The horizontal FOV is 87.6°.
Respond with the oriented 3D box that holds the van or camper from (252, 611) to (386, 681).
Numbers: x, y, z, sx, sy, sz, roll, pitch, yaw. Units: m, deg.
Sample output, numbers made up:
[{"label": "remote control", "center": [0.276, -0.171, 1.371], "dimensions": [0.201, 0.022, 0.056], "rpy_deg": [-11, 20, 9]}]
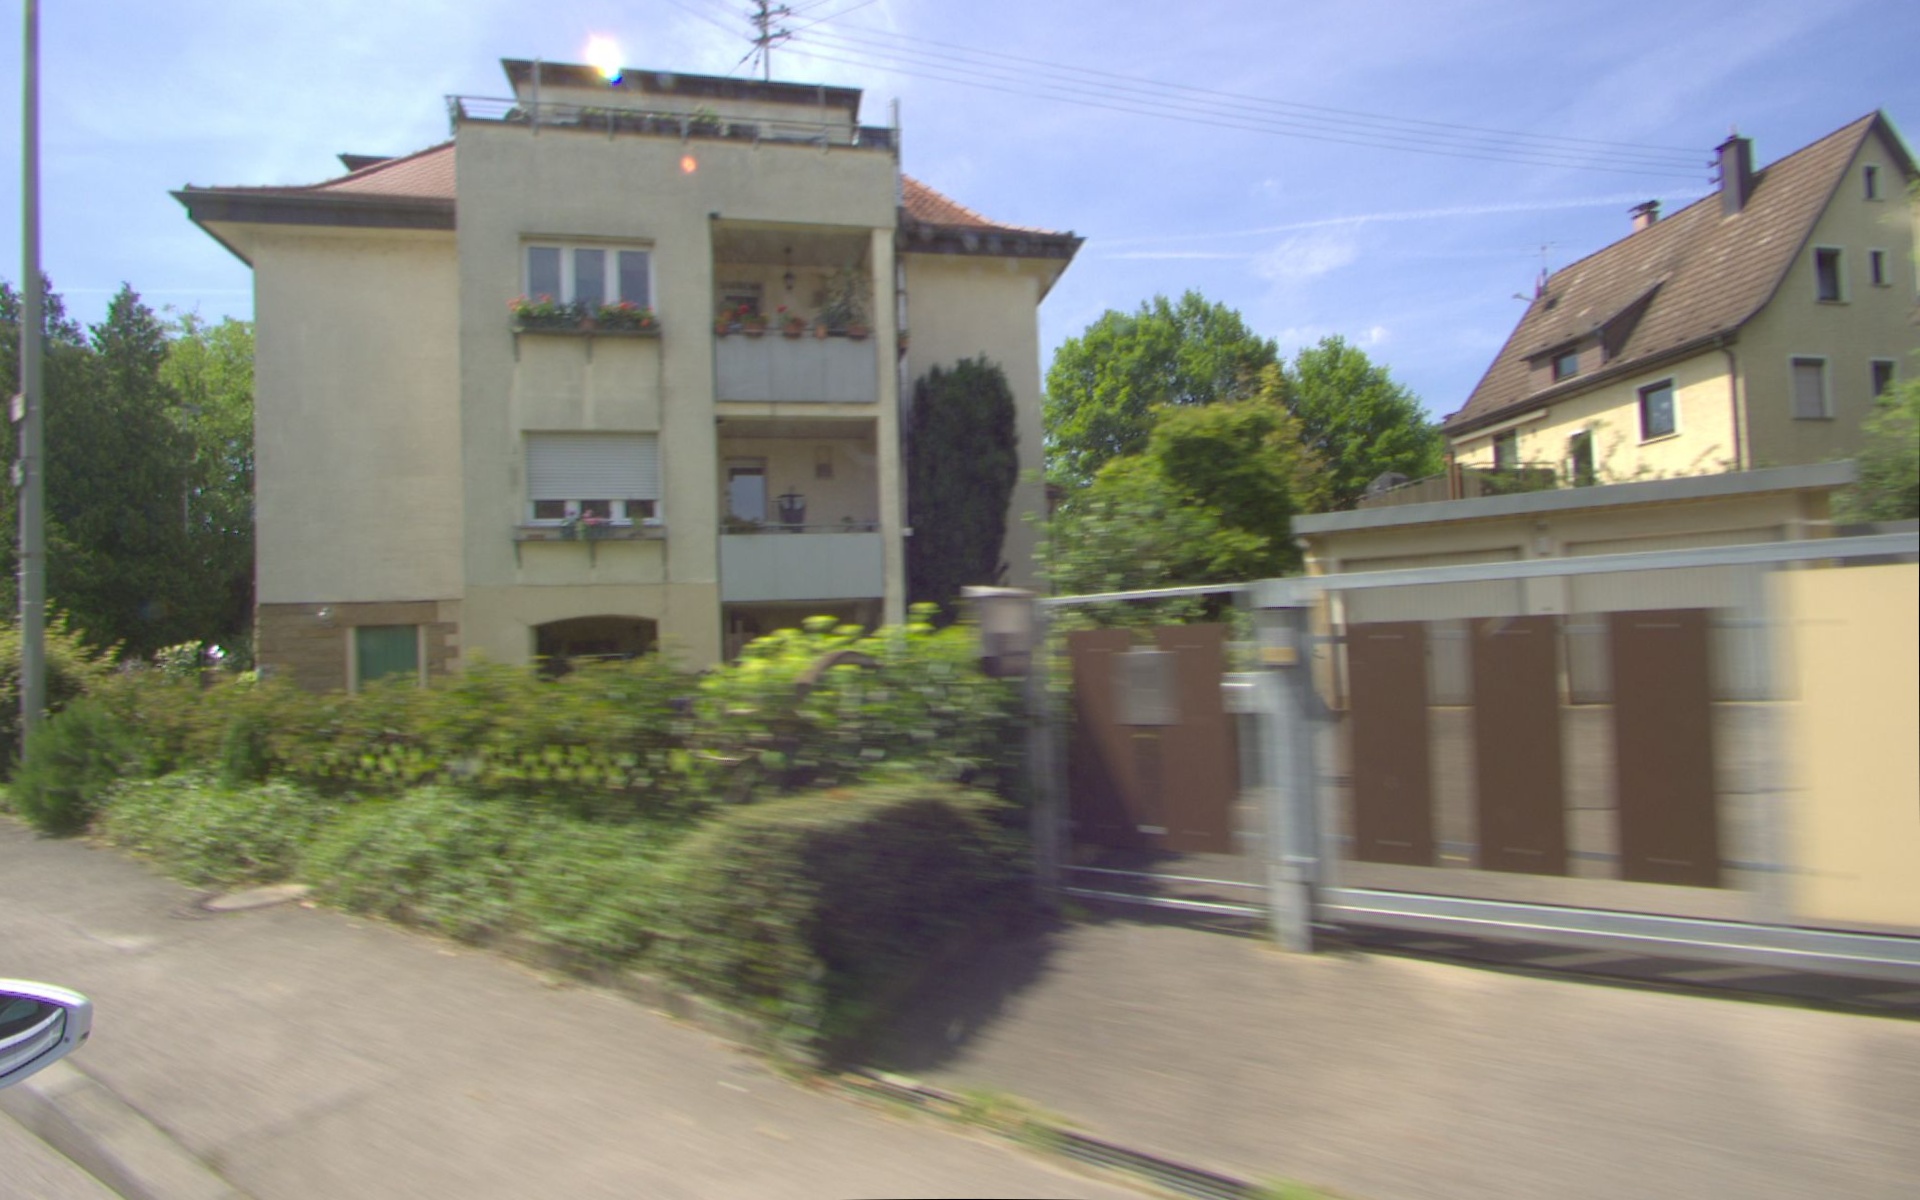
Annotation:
[{"label": "van or camper", "center": [-21.460, 1.574, 33.648], "dimensions": [3.323, 2.165, 1.822], "rpy_deg": [-1, -5, -8]}]
